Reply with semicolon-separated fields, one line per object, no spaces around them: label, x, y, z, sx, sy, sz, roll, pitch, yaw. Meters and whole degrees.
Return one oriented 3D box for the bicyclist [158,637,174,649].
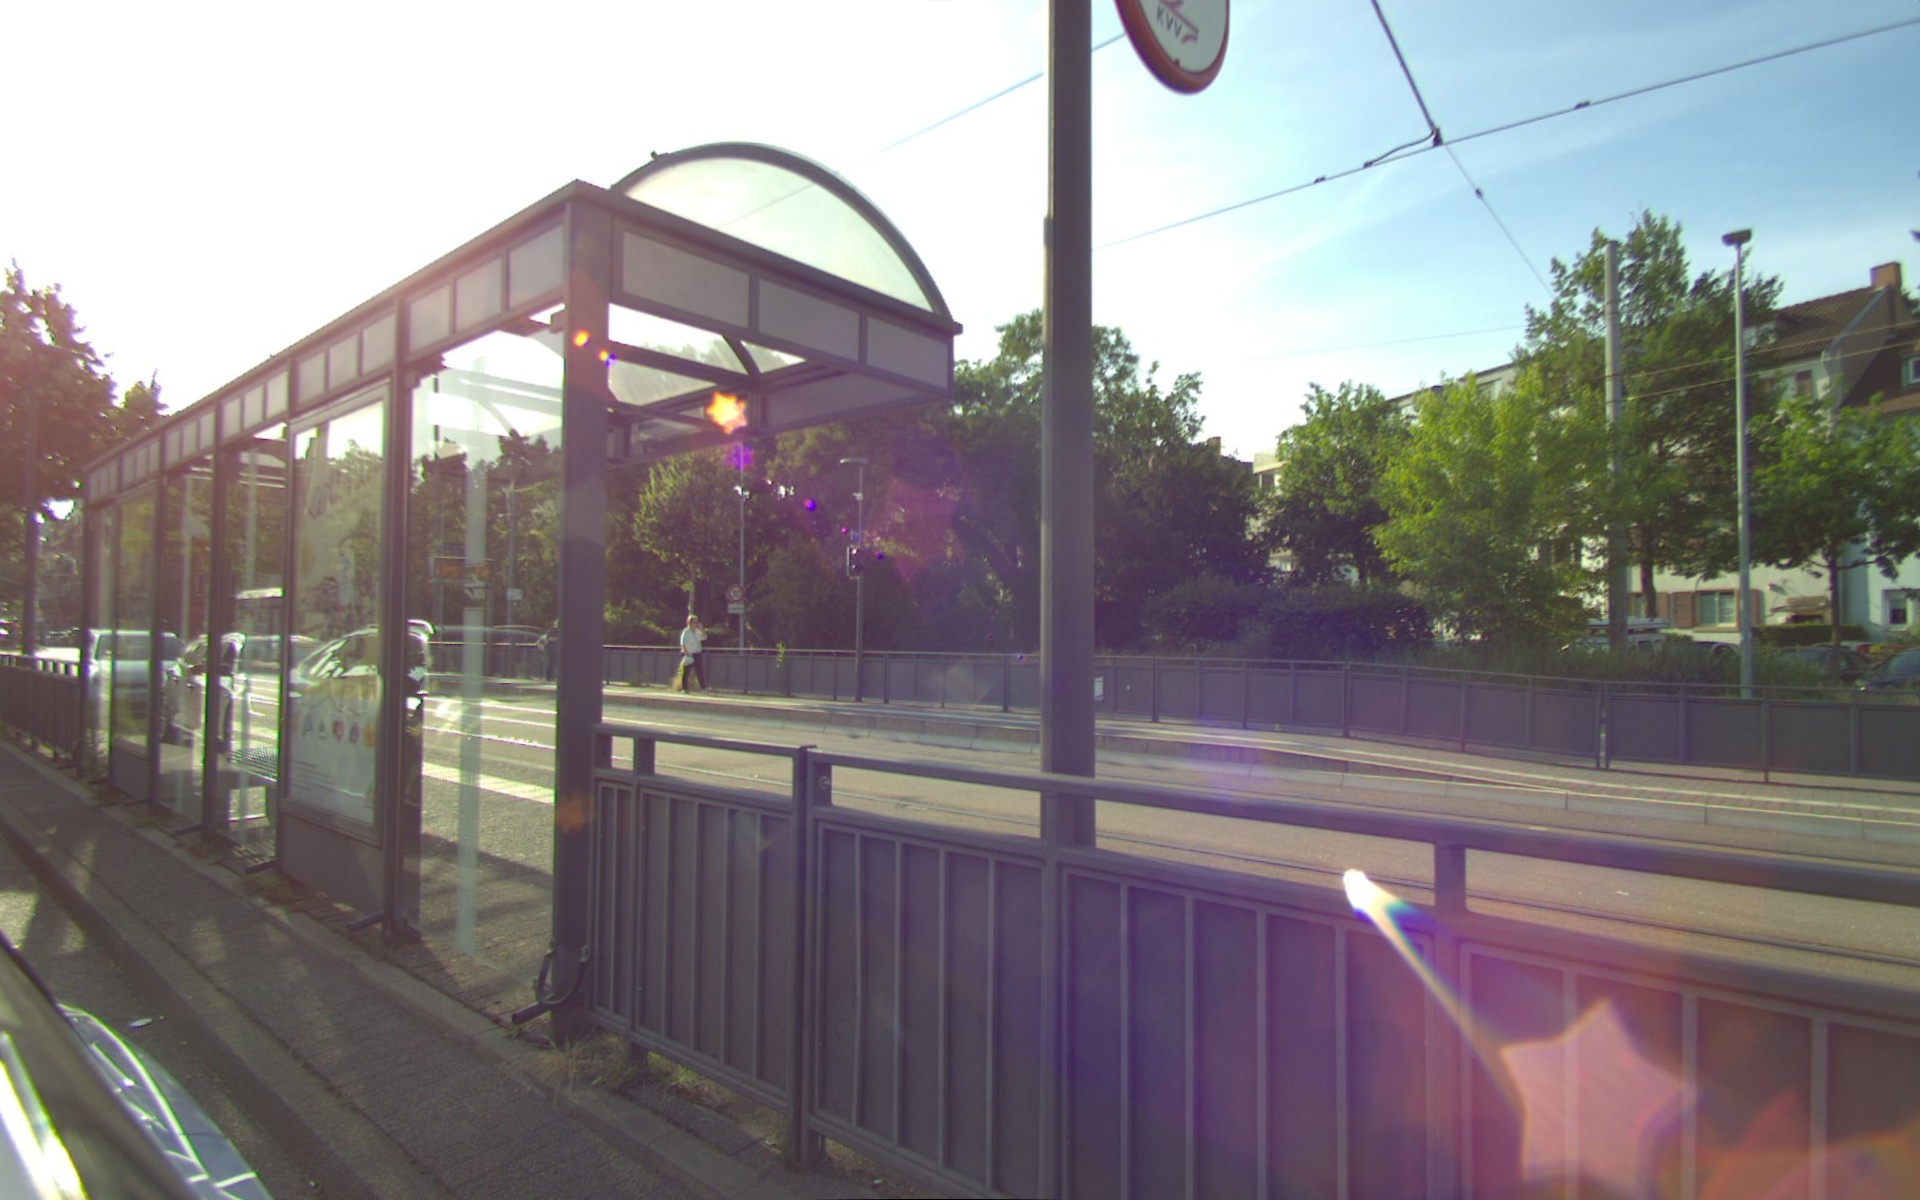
bicyclist;-59.947;3.264;76.427;0.884;0.920;0.617;3;-3;-44

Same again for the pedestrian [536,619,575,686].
pedestrian;-10.403;1.352;26.059;0.618;1.697;0.613;-2;-6;41

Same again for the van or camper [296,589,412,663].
van or camper;-26.316;1.065;43.817;6.408;2.990;2.494;-1;0;41

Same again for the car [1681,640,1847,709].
car;18.175;1.623;22.837;3.935;1.409;2.004;2;-3;-37

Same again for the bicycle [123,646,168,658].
bicycle;-60.079;3.857;74.689;0.631;0.888;2.502;-2;-3;45

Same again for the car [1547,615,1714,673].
car;18.199;1.197;27.480;3.930;1.497;1.854;1;-3;-22

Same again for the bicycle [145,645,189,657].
bicycle;-59.903;3.869;76.454;2.501;0.888;0.631;3;-3;-44

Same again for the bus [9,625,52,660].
bus;-98.197;4.418;106.911;9.258;3.461;2.405;-1;0;41

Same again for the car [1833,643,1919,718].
car;19.627;1.599;20.610;3.935;1.409;2.004;2;-3;-37

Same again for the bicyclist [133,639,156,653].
bicyclist;-60.133;3.392;74.603;0.671;1.032;1.200;-2;-3;44

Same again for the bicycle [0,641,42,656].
bicycle;-66.414;3.403;70.961;0.878;0.988;2.925;-2;-3;38

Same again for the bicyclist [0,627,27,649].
bicyclist;-66.447;2.654;70.941;0.887;1.559;1.384;-2;-3;39

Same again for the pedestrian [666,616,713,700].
pedestrian;-5.594;1.196;20.954;0.618;1.697;0.613;-2;-6;41

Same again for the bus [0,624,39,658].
bus;-105.136;4.516;113.050;9.258;3.461;2.405;-1;0;41
